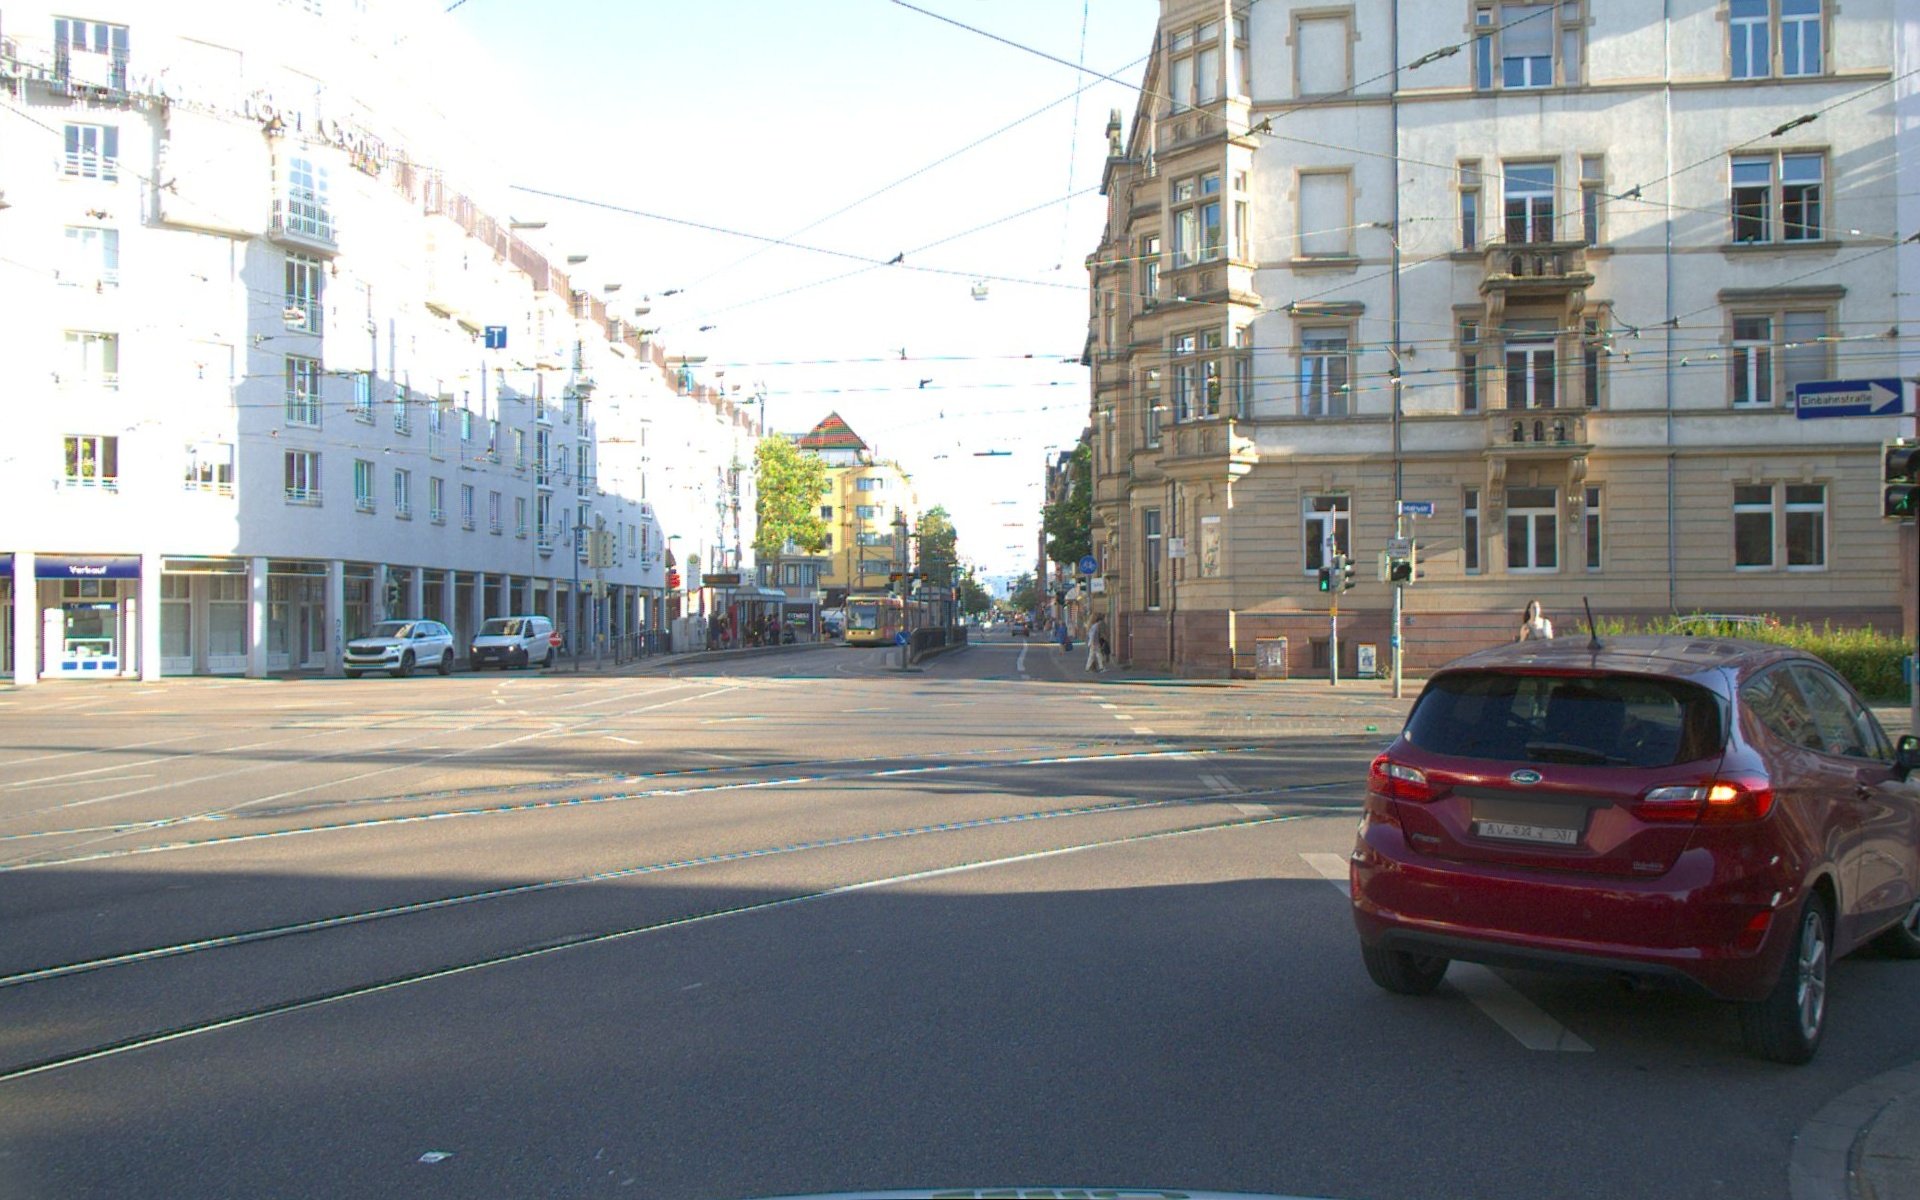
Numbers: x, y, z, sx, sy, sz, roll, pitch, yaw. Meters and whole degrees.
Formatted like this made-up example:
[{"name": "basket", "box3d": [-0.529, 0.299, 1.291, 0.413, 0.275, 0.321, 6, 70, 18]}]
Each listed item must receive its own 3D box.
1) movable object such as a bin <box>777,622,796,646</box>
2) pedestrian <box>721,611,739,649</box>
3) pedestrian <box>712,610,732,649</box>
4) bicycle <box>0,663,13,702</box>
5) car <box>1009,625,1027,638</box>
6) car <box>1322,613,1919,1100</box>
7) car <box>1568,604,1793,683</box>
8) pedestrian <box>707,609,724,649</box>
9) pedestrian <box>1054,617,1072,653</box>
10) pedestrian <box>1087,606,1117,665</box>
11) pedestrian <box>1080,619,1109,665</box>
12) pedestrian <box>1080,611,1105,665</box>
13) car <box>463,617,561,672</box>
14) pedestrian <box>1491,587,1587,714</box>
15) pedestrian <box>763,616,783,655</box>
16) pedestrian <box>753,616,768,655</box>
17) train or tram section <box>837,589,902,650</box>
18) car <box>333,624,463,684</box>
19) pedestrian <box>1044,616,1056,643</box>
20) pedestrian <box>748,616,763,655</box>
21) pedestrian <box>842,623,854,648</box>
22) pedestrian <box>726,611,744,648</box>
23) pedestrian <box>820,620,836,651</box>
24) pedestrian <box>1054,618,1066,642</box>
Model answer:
[{"name": "movable object such as a bin", "box3d": [-9.438, 1.840, 89.859, 0.918, 1.309, 0.934, 0, -1, 0]}, {"name": "pedestrian", "box3d": [-10.563, 1.363, 75.875, 0.686, 1.721, 0.668, 0, -1, -22]}, {"name": "pedestrian", "box3d": [-10.596, 1.314, 73.536, 0.753, 1.763, 0.517, -2, -2, 44]}, {"name": "bicycle", "box3d": [-24.363, 2.058, 40.386, 0.823, 0.943, 2.266, -1, -1, 14]}, {"name": "car", "box3d": [6.393, 3.466, 183.362, 1.952, 1.475, 4.001, 0, -1, 2]}, {"name": "car", "box3d": [3.140, 0.846, 7.188, 1.665, 1.522, 3.563, 1, -1, 39]}, {"name": "car", "box3d": [15.721, 0.976, 36.286, 4.167, 1.661, 1.946, -1, -2, 10]}, {"name": "pedestrian", "box3d": [-10.570, 1.273, 71.519, 0.586, 1.721, 0.613, 0, -1, 2]}, {"name": "pedestrian", "box3d": [4.895, 1.643, 78.448, 0.747, 1.674, 0.832, -2, 0, 1]}, {"name": "pedestrian", "box3d": [4.320, 1.074, 50.310, 0.778, 1.751, 0.719, -2, -2, 0]}, {"name": "pedestrian", "box3d": [4.035, 1.259, 49.586, 0.778, 1.355, 0.719, -2, -2, 0]}, {"name": "pedestrian", "box3d": [4.685, 1.333, 58.413, 0.784, 1.856, 0.797, -2, 0, 1]}, {"name": "car", "box3d": [-16.091, 1.571, 59.674, 1.952, 1.870, 5.347, -1, -1, 1]}, {"name": "pedestrian", "box3d": [8.600, 0.737, 24.601, 1.002, 1.838, 1.083, -1, -1, -1]}, {"name": "pedestrian", "box3d": [-9.467, 1.796, 83.627, 0.913, 1.938, 0.881, 0, -1, -1]}, {"name": "pedestrian", "box3d": [-9.901, 1.756, 82.076, 0.681, 1.938, 0.672, 0, -1, -1]}, {"name": "train or tram section", "box3d": [-5.675, 1.355, 106.123, 2.825, 3.551, 14.169, -2, -1, 2]}, {"name": "car", "box3d": [-16.579, 1.555, 49.041, 1.951, 1.648, 4.513, -1, -1, 5]}, {"name": "pedestrian", "box3d": [6.139, 2.038, 113.057, 0.699, 1.805, 0.773, -3, 0, -1]}, {"name": "pedestrian", "box3d": [-10.082, 1.741, 81.522, 0.681, 1.938, 0.672, 0, -1, -1]}, {"name": "pedestrian", "box3d": [-8.896, 2.798, 131.268, 0.863, 1.938, 0.931, 0, -1, -14]}, {"name": "pedestrian", "box3d": [-10.563, 1.399, 77.607, 0.686, 1.721, 0.668, 0, -1, -22]}, {"name": "pedestrian", "box3d": [-8.261, 2.229, 103.312, 0.863, 1.938, 0.931, 0, -1, -14]}, {"name": "pedestrian", "box3d": [6.854, 2.049, 113.364, 0.699, 1.630, 0.773, -3, 0, -1]}]
